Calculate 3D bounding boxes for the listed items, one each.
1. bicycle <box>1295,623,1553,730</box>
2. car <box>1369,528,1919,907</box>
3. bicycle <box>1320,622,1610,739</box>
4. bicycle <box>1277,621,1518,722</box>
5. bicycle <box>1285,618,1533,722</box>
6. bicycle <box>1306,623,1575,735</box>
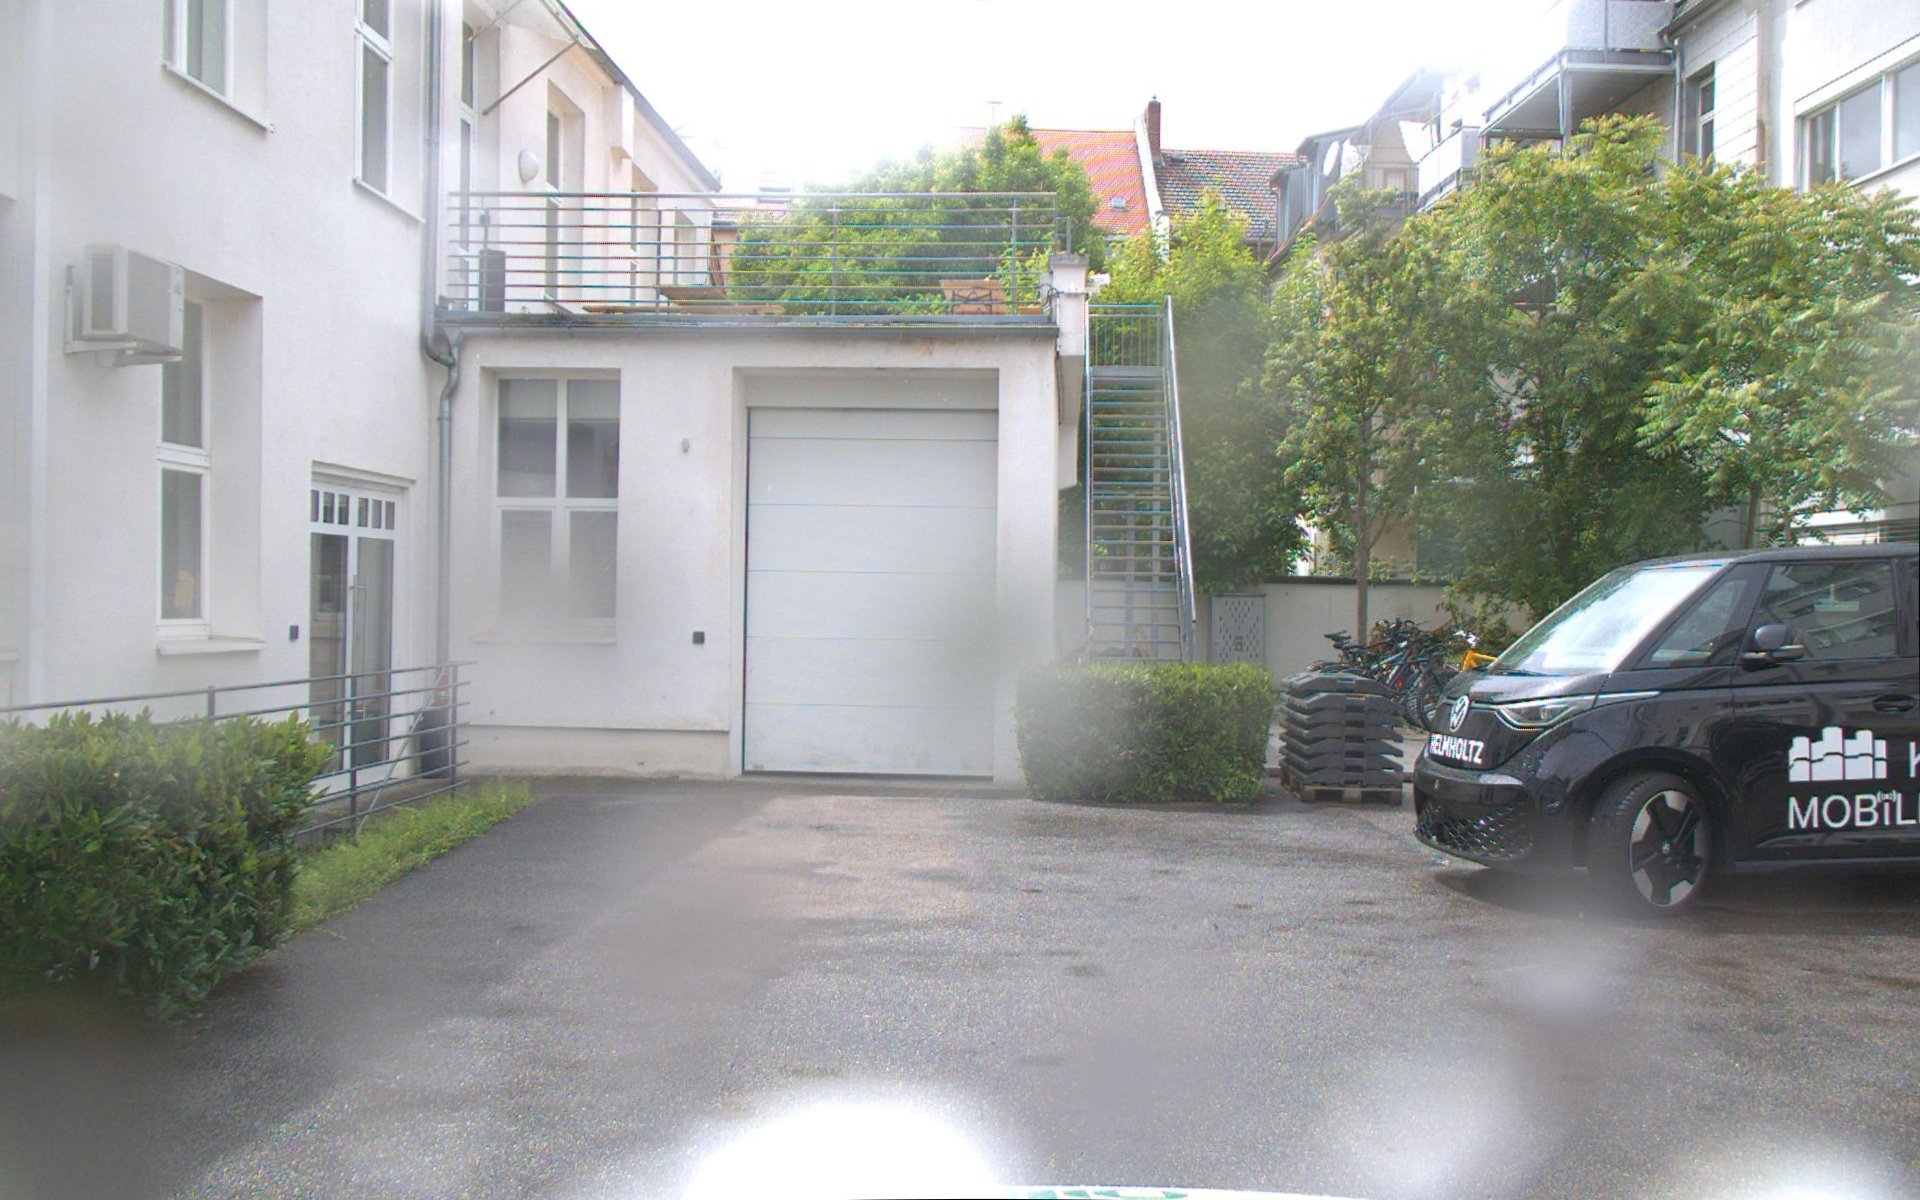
[{"bbox_3d":[5.395,0.880,19.318,2.785,1.097,0.689,2,1,0],"label":"bicycle"},{"bbox_3d":[4.905,0.570,9.376,4.616,1.865,2.109,0,0,-3],"label":"car"},{"bbox_3d":[5.383,0.852,17.721,2.863,1.097,0.689,2,1,0],"label":"bicycle"},{"bbox_3d":[5.415,0.881,20.587,2.785,1.097,0.689,2,1,0],"label":"bicycle"},{"bbox_3d":[5.408,0.837,20.033,2.785,1.097,0.689,2,1,0],"label":"bicycle"},{"bbox_3d":[5.375,0.875,18.595,2.785,1.097,0.689,2,1,0],"label":"bicycle"}]
